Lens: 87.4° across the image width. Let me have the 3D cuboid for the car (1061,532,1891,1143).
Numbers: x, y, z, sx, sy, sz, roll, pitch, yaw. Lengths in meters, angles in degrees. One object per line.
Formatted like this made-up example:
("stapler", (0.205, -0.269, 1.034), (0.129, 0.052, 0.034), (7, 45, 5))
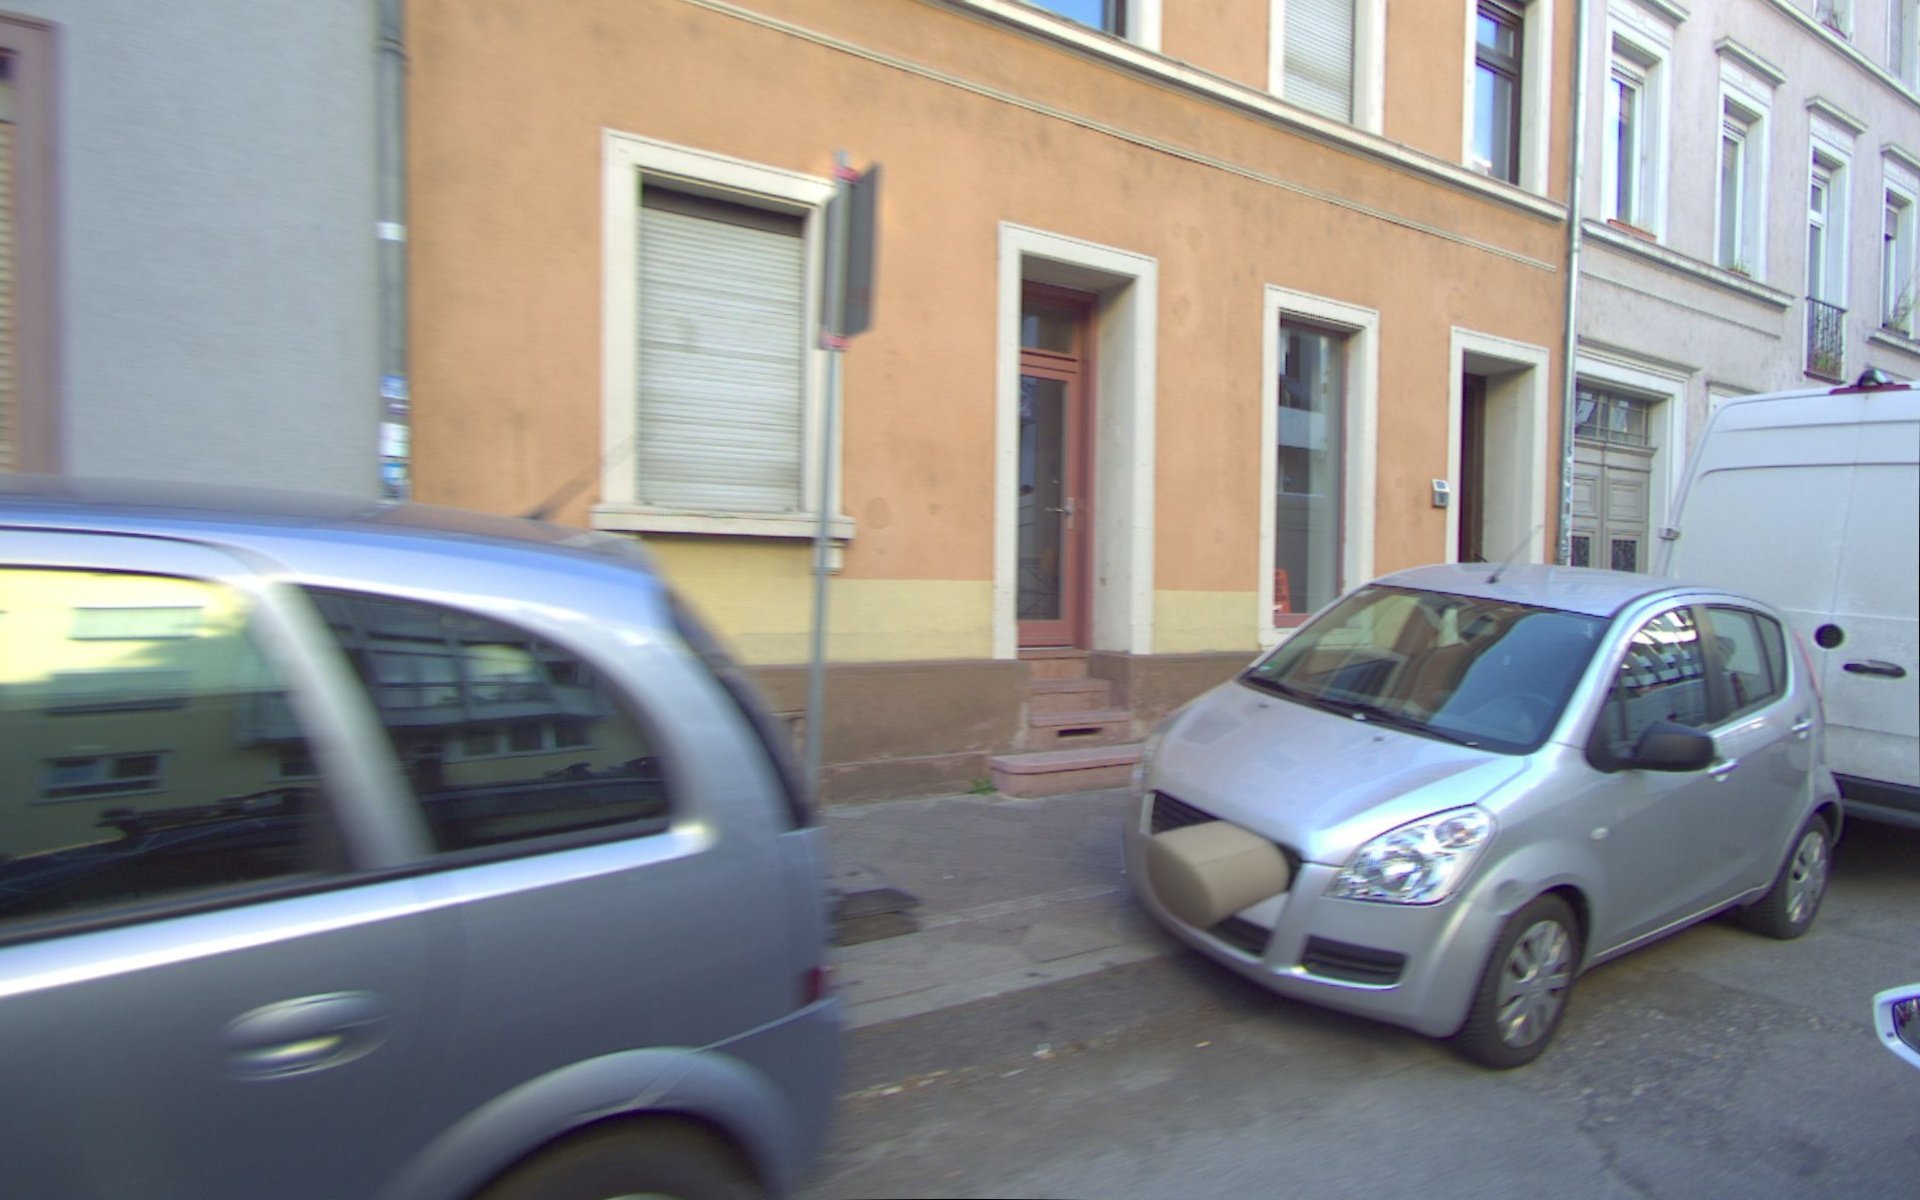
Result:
("car", (2.370, 0.644, 4.417), (3.611, 1.709, 1.582), (0, 2, -32))

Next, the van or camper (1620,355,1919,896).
("van or camper", (7.514, 0.134, 7.240), (7.063, 2.685, 1.938), (0, 0, -33))

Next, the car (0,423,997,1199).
("car", (-2.059, 0.572, 1.615), (3.935, 1.666, 1.701), (0, 4, -32))
